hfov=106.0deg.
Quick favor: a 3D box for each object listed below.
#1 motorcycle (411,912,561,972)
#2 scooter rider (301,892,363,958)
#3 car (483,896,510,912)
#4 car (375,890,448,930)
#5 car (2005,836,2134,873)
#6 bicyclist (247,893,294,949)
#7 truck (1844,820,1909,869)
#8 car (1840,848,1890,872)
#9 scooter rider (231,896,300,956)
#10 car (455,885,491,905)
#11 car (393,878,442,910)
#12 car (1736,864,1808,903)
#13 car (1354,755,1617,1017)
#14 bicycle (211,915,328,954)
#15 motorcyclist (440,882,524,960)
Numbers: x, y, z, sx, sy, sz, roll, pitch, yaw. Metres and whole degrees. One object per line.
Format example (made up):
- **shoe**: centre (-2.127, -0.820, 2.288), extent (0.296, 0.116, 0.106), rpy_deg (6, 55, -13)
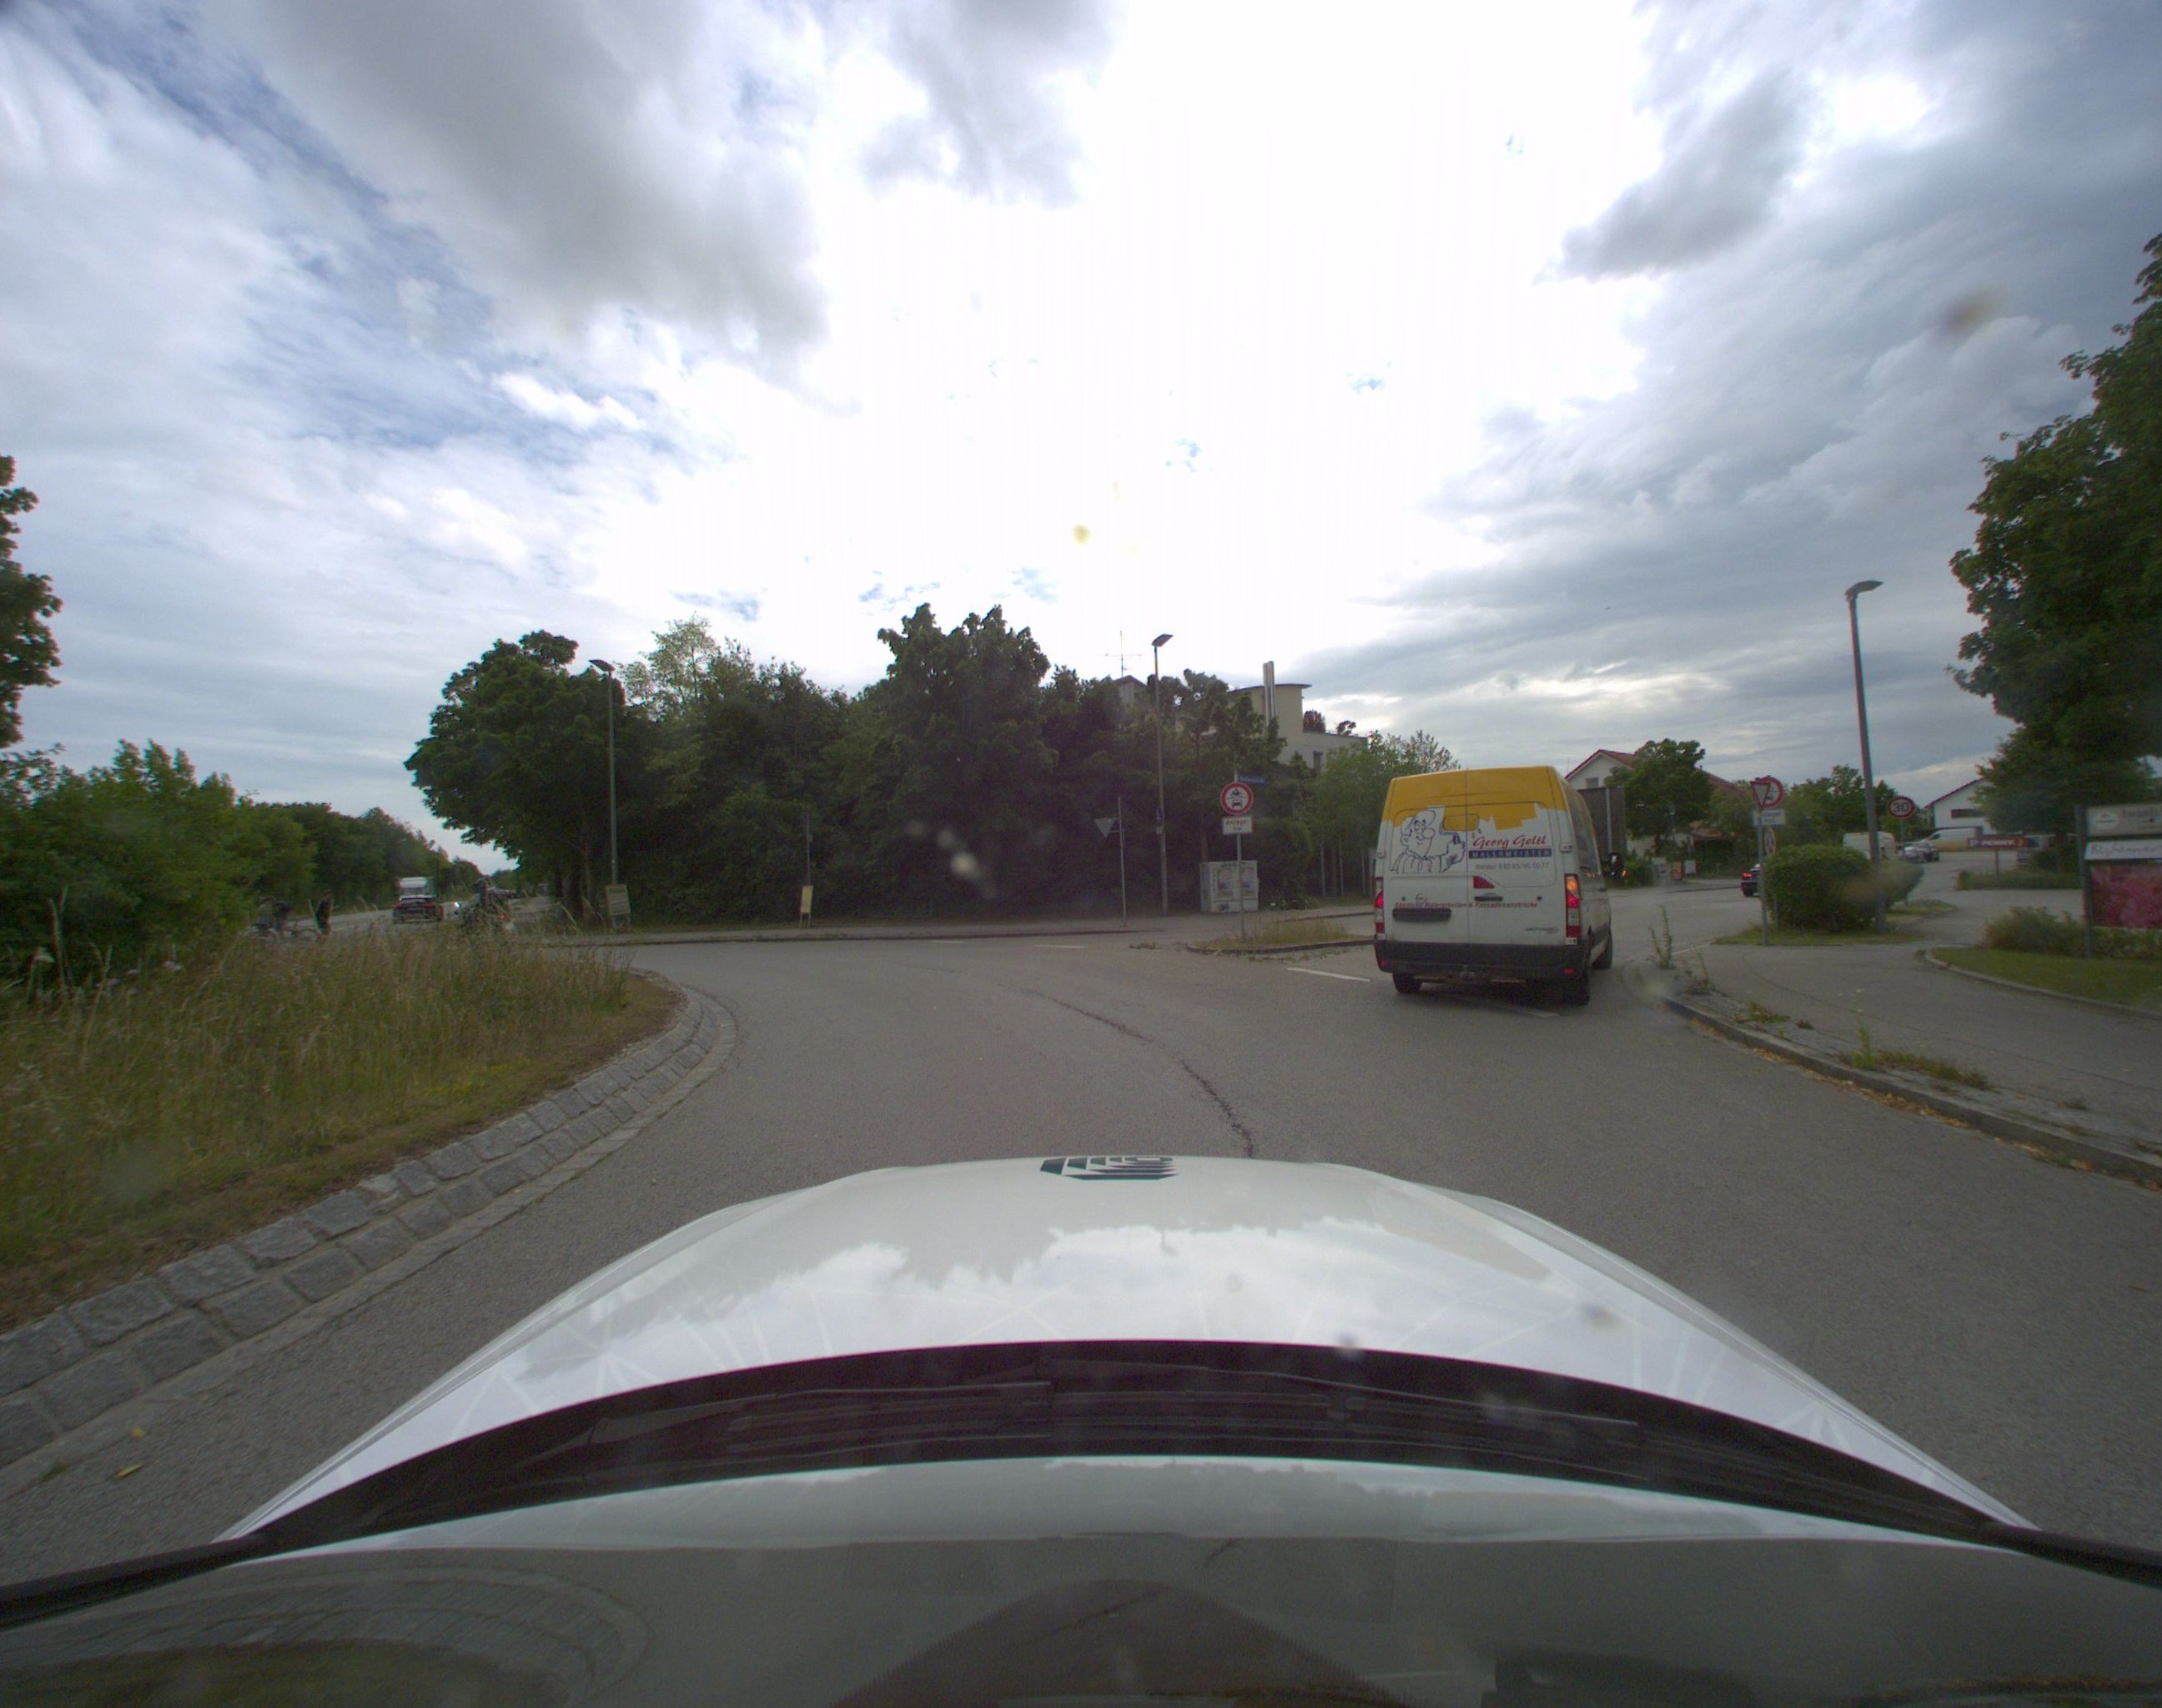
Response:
- **motorcycle**: centre (-13.221, 1.938, 18.153), extent (2.605, 1.158, 0.898), rpy_deg (-2, -1, -3)
- **scooter rider**: centre (-23.336, 2.206, 25.381), extent (1.210, 1.910, 1.135), rpy_deg (-4, -1, 36)
- **car**: centre (-78.446, 6.655, 109.358), extent (2.530, 1.947, 5.653), rpy_deg (-2, -1, -32)
- **car**: centre (-36.920, 3.035, 45.105), extent (2.531, 1.947, 5.650), rpy_deg (-2, -1, -34)
- **car**: centre (52.273, 0.068, 43.156), extent (3.952, 1.733, 1.663), rpy_deg (-3, -3, 22)
- **bicyclist**: centre (-25.609, 2.096, 25.730), extent (0.650, 1.723, 0.924), rpy_deg (-3, -4, 39)
- **truck**: centre (53.609, -0.574, 54.836), extent (5.435, 3.077, 2.145), rpy_deg (1, -3, -36)
- **car**: centre (48.413, 0.351, 50.281), extent (3.526, 1.380, 1.525), rpy_deg (-1, -3, -36)
- **scooter rider**: centre (-24.092, 2.108, 24.062), extent (1.086, 1.672, 1.253), rpy_deg (-3, -2, 34)
- **car**: centre (-65.374, 4.393, 87.643), extent (2.530, 1.947, 5.653), rpy_deg (-2, -1, -32)
- **car**: centre (-70.927, 4.276, 87.235), extent (3.193, 3.205, 7.553), rpy_deg (-2, -1, -33)
- **car**: centre (26.119, 1.092, 30.733), extent (1.778, 1.331, 4.024), rpy_deg (-3, -2, 44)
- **car**: centre (5.462, 0.345, 10.496), extent (2.141, 2.452, 5.476), rpy_deg (-2, -2, 35)
- **bicycle**: centre (-25.601, 2.521, 25.755), extent (0.761, 1.089, 2.522), rpy_deg (-3, -4, 38)
- **motorcyclist**: centre (-13.336, 1.472, 18.160), extent (1.184, 1.624, 0.863), rpy_deg (-2, -1, -2)
